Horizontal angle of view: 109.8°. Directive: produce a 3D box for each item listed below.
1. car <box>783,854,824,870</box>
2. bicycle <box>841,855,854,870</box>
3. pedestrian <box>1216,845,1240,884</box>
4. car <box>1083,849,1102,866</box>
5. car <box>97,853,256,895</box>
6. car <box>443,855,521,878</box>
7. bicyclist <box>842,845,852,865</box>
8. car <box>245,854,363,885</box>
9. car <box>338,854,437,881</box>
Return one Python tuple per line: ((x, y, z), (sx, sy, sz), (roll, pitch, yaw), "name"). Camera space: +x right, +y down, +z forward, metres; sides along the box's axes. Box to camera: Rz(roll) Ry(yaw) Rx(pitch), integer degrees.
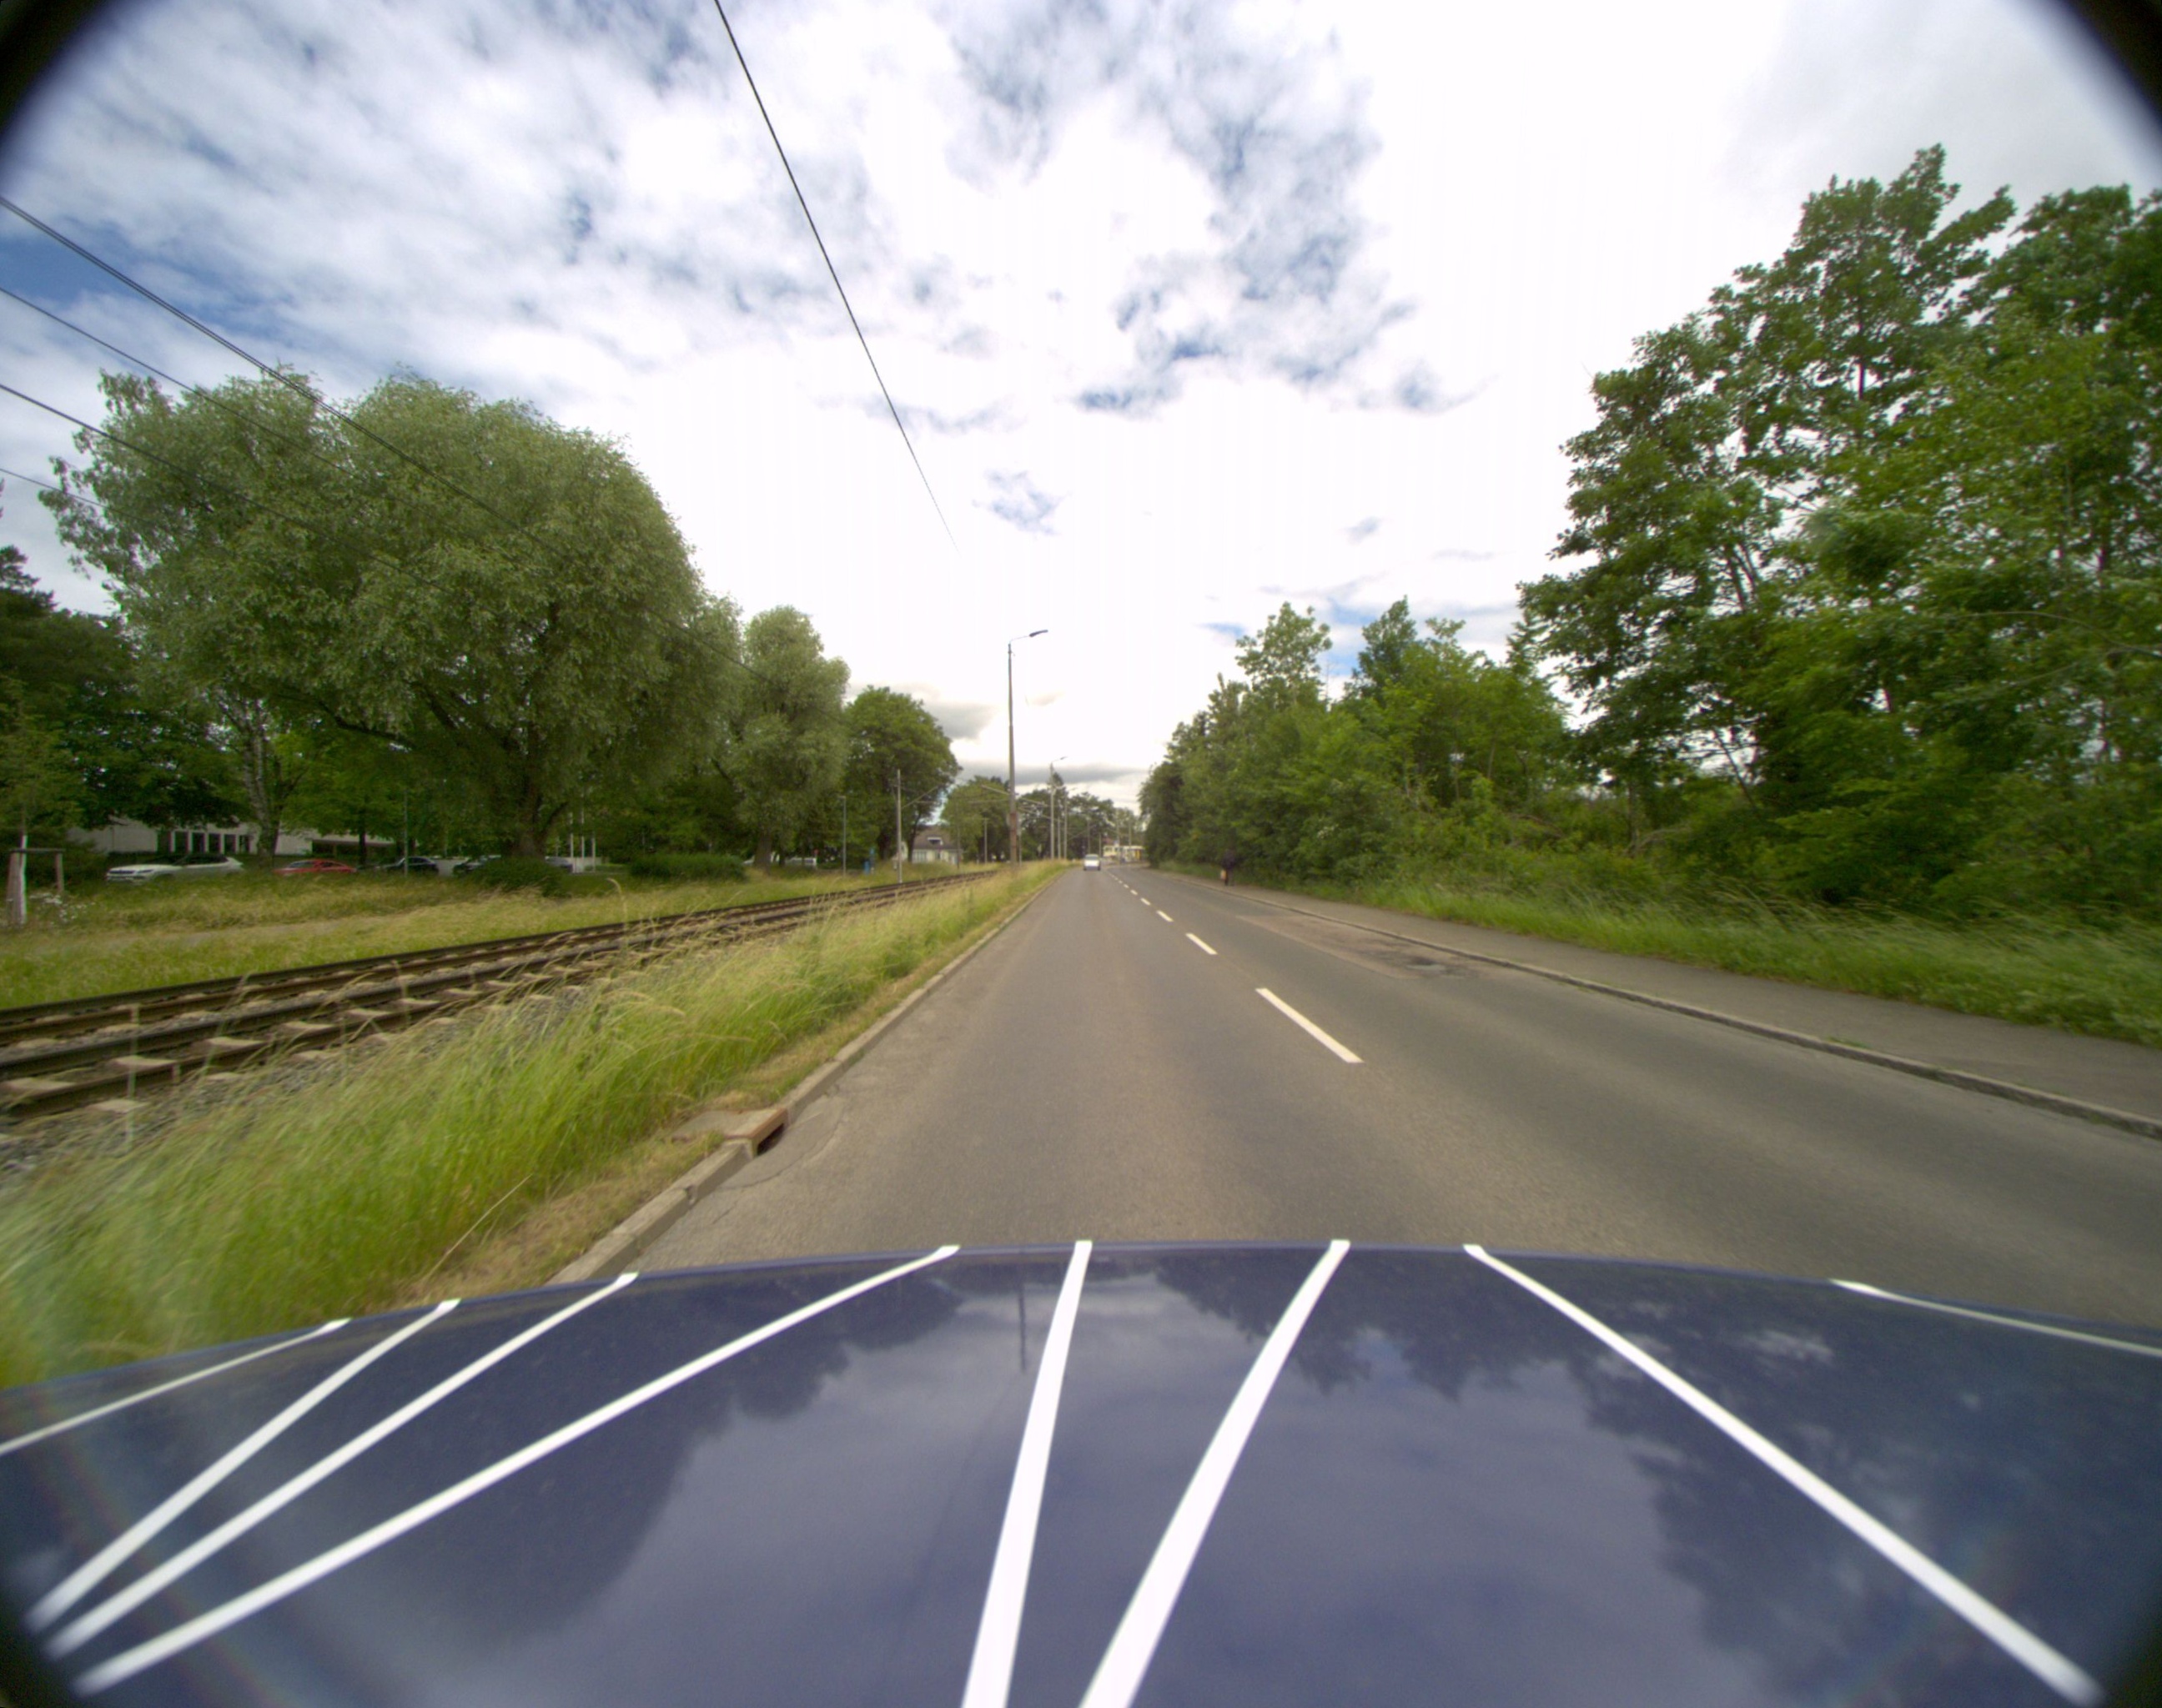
((-34.128, 0.955, 93.455), (4.719, 1.850, 1.914), (-1, 0, -23), "car")
((-20.798, 0.747, 67.634), (0.582, 1.239, 1.928), (-1, 1, -3), "bicycle")
((6.684, 0.462, 34.494), (0.870, 1.759, 0.789), (1, 0, -4), "pedestrian")
((1.137, 0.348, 76.379), (1.734, 1.639, 4.226), (-2, -1, -1), "car")
((-40.517, 0.860, 34.236), (1.998, 1.690, 4.229), (-2, 0, 1), "car")
((-40.279, 0.785, 51.235), (1.998, 1.434, 4.000), (-1, 0, 1), "car")
((-20.818, 0.083, 67.712), (0.582, 1.686, 0.935), (-1, 1, -3), "bicyclist")
((-40.403, 0.772, 39.653), (1.998, 1.434, 4.000), (-1, 0, 1), "car")
((-40.280, 0.771, 44.253), (1.998, 1.434, 4.000), (-1, 0, 1), "car")
